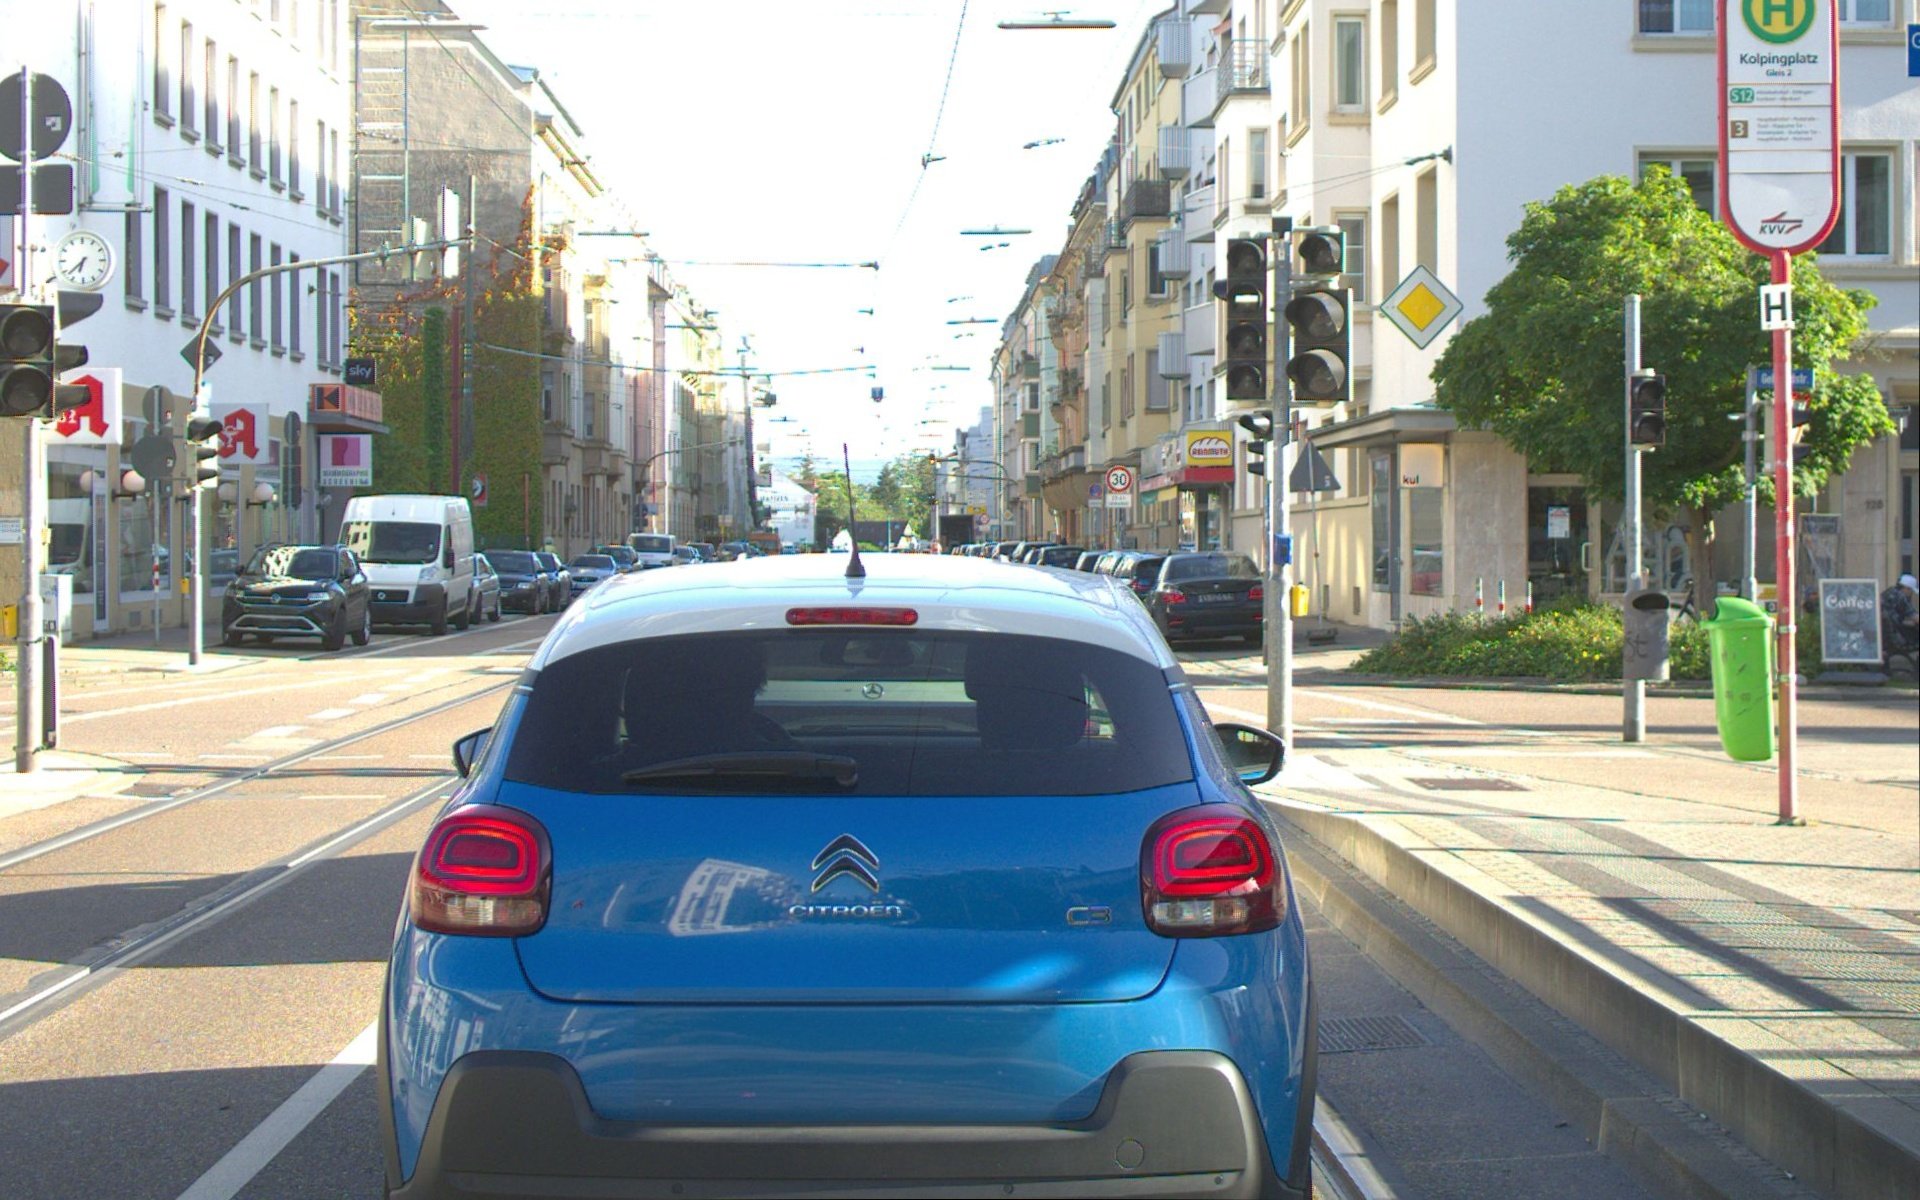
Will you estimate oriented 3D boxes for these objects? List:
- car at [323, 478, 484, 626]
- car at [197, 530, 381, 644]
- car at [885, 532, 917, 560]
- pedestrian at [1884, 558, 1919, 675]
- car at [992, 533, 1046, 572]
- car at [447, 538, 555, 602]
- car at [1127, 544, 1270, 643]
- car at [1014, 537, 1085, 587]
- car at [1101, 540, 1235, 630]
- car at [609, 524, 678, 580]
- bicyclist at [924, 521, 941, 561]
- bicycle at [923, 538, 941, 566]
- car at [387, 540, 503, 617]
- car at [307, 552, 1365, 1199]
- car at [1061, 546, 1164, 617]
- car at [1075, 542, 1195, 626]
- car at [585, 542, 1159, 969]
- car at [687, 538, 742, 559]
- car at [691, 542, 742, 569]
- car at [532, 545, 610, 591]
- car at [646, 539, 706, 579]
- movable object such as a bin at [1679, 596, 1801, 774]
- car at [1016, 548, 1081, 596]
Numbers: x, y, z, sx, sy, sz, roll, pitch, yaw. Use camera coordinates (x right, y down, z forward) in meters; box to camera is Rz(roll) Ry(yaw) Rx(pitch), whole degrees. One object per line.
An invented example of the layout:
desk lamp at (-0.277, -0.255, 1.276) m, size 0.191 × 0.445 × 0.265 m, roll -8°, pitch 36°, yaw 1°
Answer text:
car at (-10.087, -0.881, 62.771) m, size 2.085 × 2.533 × 6.206 m, roll 1°, pitch 1°, yaw -2°
car at (-10.175, -0.202, 52.418) m, size 1.993 × 1.563 × 4.403 m, roll 3°, pitch 0°, yaw -2°
car at (-3.732, -3.429, 219.054) m, size 1.993 × 1.766 × 4.000 m, roll 0°, pitch 1°, yaw -1°
pedestrian at (10.910, 0.181, 39.023) m, size 0.741 × 1.311 × 0.627 m, roll 0°, pitch 1°, yaw 23°
car at (2.270, -1.843, 133.240) m, size 1.993 × 1.459 × 4.000 m, roll 0°, pitch 1°, yaw 0°
car at (-10.406, -0.687, 78.144) m, size 1.993 × 1.393 × 4.157 m, roll 1°, pitch 0°, yaw -2°
car at (3.599, -0.123, 52.523) m, size 1.909 × 1.459 × 4.000 m, roll 0°, pitch 1°, yaw 0°
car at (2.636, -1.141, 102.019) m, size 1.993 × 1.459 × 4.504 m, roll 0°, pitch 1°, yaw 0°
car at (3.435, -0.273, 57.403) m, size 1.993 × 1.459 × 4.000 m, roll 0°, pitch 1°, yaw 0°
car at (-11.659, -1.763, 126.860) m, size 2.006 × 2.007 × 4.689 m, roll 1°, pitch 0°, yaw 1°
bicyclist at (-1.404, -2.990, 174.022) m, size 0.809 × 2.007 × 0.922 m, roll 1°, pitch 0°, yaw -3°
bicycle at (-1.403, -2.427, 174.358) m, size 0.920 × 1.384 × 3.132 m, roll 0°, pitch 1°, yaw 0°
car at (-10.382, -0.433, 69.565) m, size 1.888 × 1.491 × 3.562 m, roll 1°, pitch 0°, yaw -2°
car at (-0.235, 0.653, 7.584) m, size 1.728 × 1.477 × 3.827 m, roll 1°, pitch 1°, yaw -1°
car at (3.194, -0.404, 72.682) m, size 1.993 × 1.459 × 4.000 m, roll 0°, pitch 1°, yaw 0°
car at (3.175, -0.320, 62.990) m, size 1.993 × 1.496 × 4.000 m, roll 0°, pitch 1°, yaw 0°
car at (-0.342, 0.505, 14.436) m, size 1.984 × 1.459 × 4.816 m, roll 1°, pitch 1°, yaw -1°
car at (-13.200, -2.763, 184.826) m, size 1.994 × 1.152 × 4.513 m, roll 0°, pitch 1°, yaw 9°
car at (-10.894, -2.001, 154.226) m, size 1.993 × 1.152 × 4.000 m, roll 0°, pitch 1°, yaw 0°
car at (-11.661, -0.950, 103.198) m, size 1.993 × 1.320 × 3.923 m, roll 1°, pitch 0°, yaw -2°
car at (-11.312, -1.645, 137.236) m, size 1.955 × 1.547 × 3.938 m, roll 1°, pitch 0°, yaw 2°
movable object such as a bin at (3.509, 0.377, 15.491) m, size 0.449 × 0.783 × 0.489 m, roll 0°, pitch 1°, yaw 2°
car at (2.722, -0.870, 106.382) m, size 1.993 × 1.459 × 4.000 m, roll 0°, pitch 1°, yaw 1°
